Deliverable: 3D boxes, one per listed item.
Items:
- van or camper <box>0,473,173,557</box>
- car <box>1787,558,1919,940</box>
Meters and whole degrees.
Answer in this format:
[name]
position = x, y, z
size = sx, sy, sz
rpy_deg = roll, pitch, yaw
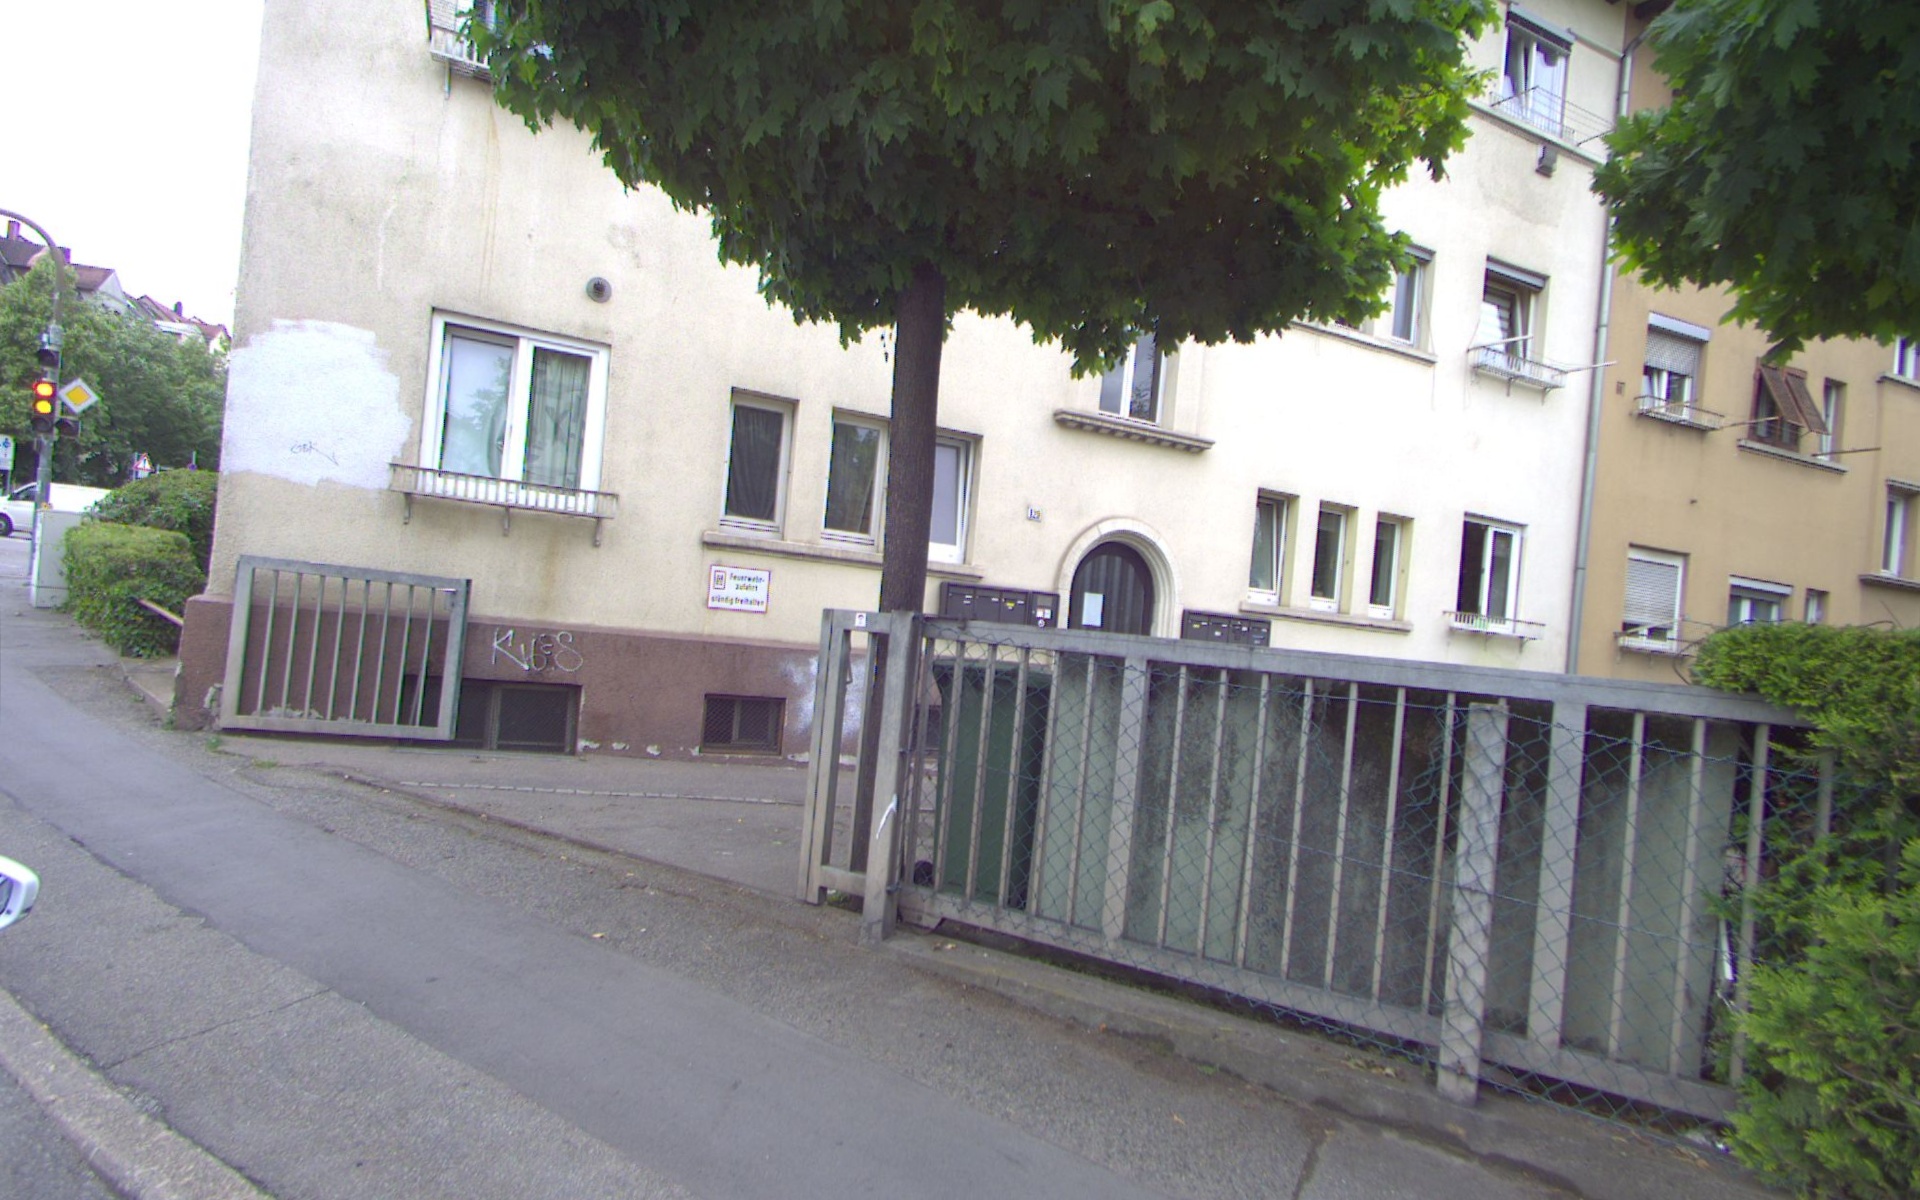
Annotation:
[van or camper]
position = -29.592, -2.831, 33.548
size = 4.746, 2.037, 1.999
rpy_deg = 8, -2, -5
[car]
position = 5.534, 0.794, 3.773
size = 3.381, 1.477, 1.700
rpy_deg = 6, -2, 30
